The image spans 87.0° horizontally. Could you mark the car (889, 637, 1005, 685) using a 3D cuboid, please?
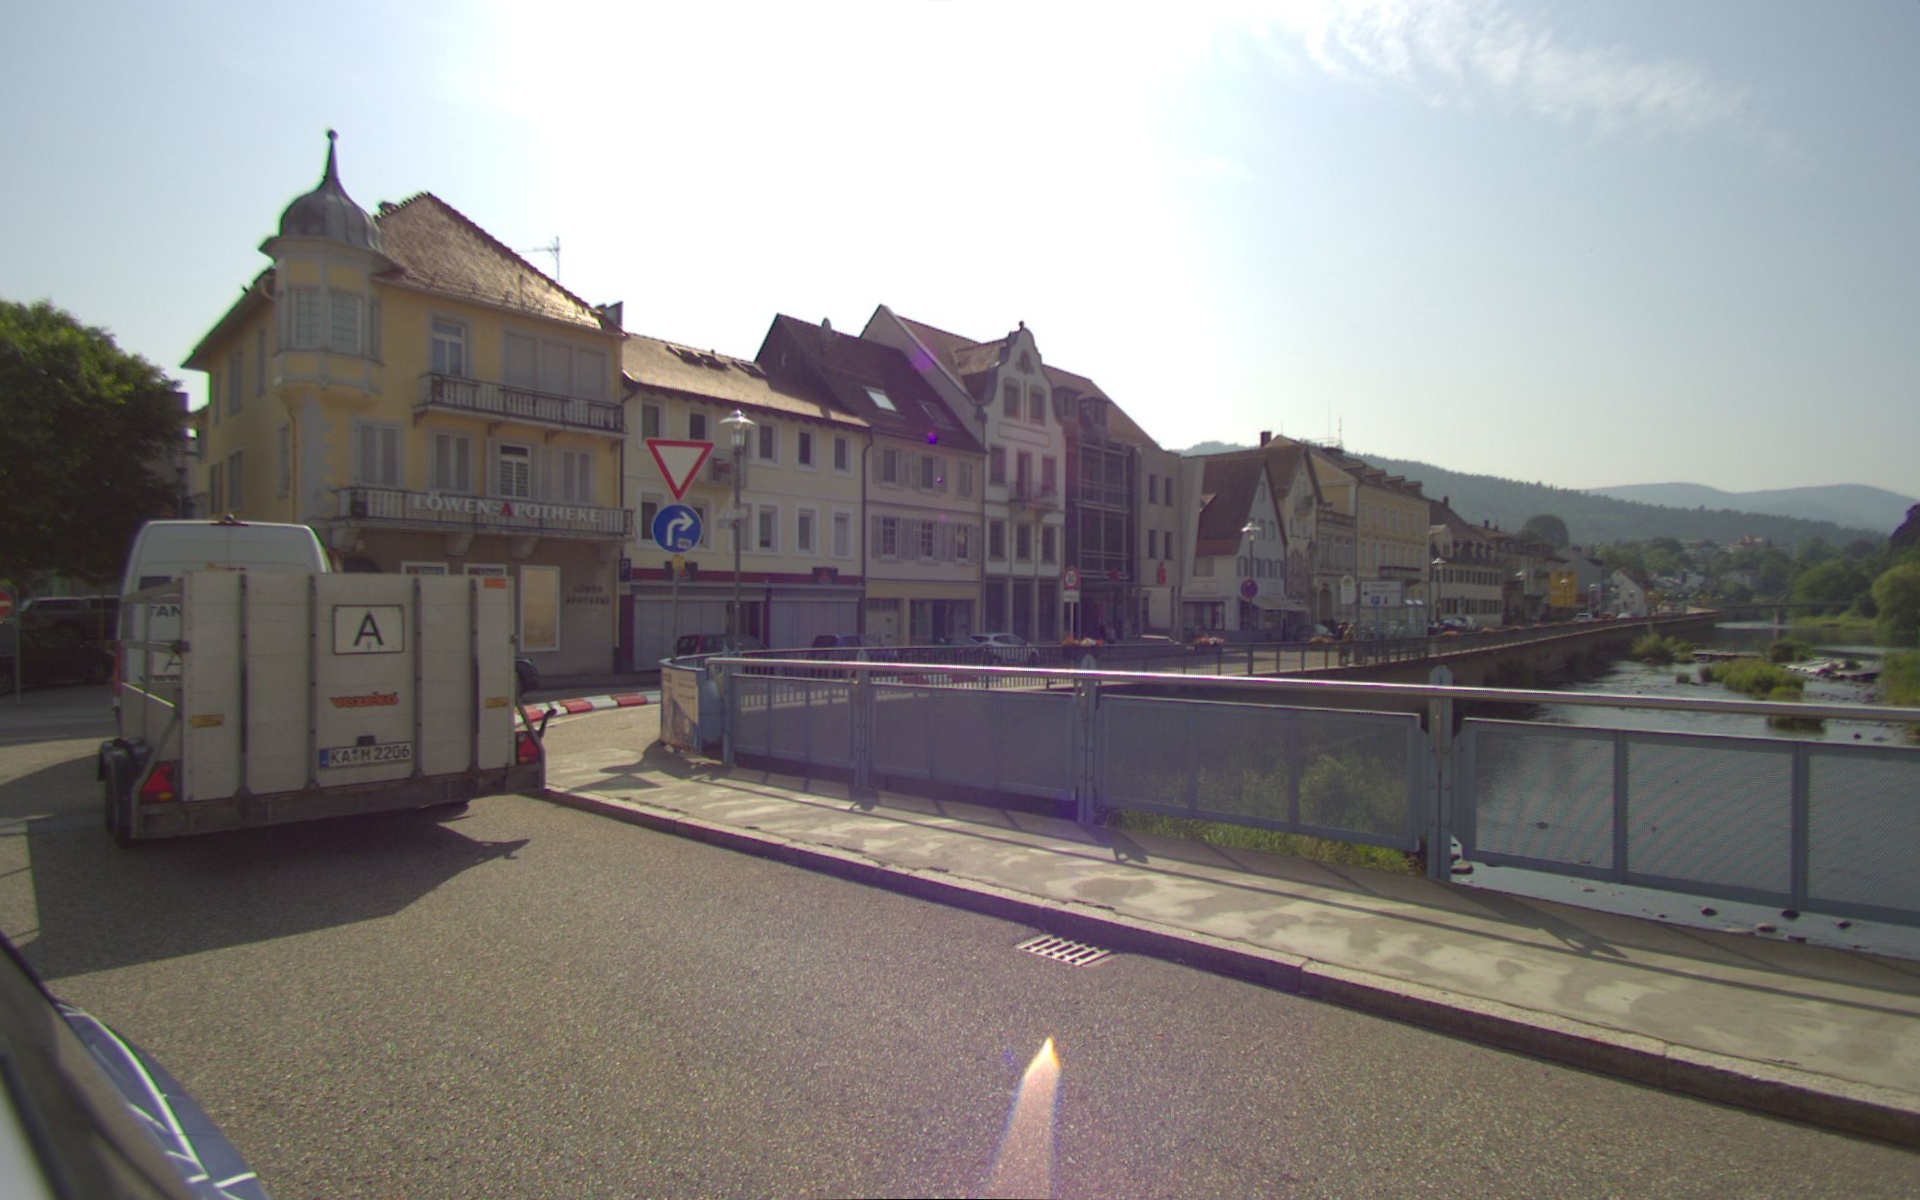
[{"bbox_3d":[-0.393,2.034,34.516,1.754,1.367,4.146,-2,-1,38],"label":"car"}]

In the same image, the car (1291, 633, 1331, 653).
[{"bbox_3d":[23.836,2.896,68.606,1.567,1.229,3.233,-2,-2,39],"label":"car"}]

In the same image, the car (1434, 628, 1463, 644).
[{"bbox_3d":[45.938,3.394,95.159,1.751,1.459,3.233,-2,-2,39],"label":"car"}]

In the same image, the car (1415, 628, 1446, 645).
[{"bbox_3d":[42.053,3.233,90.428,1.751,1.459,3.233,-2,-2,39],"label":"car"}]

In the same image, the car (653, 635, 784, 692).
[{"bbox_3d":[-7.338,1.891,30.984,1.851,1.580,3.521,-2,-2,39],"label":"car"}]

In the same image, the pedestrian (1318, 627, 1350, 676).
[{"bbox_3d":[13.478,1.823,36.447,0.869,1.719,0.766,-1,-1,42],"label":"pedestrian"}]

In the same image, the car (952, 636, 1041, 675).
[{"bbox_3d":[1.525,2.234,41.532,1.751,1.459,3.745,-2,-2,39],"label":"car"}]

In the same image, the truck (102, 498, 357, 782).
[{"bbox_3d":[-9.362,0.553,13.220,2.077,2.719,7.151,0,-3,-35],"label":"truck"}]

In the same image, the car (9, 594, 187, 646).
[{"bbox_3d":[-33.724,0.768,39.737,1.996,1.905,5.011,-1,-1,36],"label":"car"}]

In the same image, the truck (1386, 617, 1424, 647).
[{"bbox_3d":[37.916,2.700,86.169,1.751,2.487,4.600,-2,-2,39],"label":"truck"}]

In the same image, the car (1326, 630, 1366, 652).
[{"bbox_3d":[27.936,2.953,73.159,1.751,1.459,3.233,-2,-2,39],"label":"car"}]

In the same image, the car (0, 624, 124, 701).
[{"bbox_3d":[-22.334,1.440,23.882,1.897,1.554,3.957,0,1,1],"label":"car"}]

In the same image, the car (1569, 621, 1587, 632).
[{"bbox_3d":[81.057,3.453,132.728,1.517,1.459,3.233,-2,-2,39],"label":"car"}]

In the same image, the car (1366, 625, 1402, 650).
[{"bbox_3d":[34.215,2.977,81.543,1.751,1.950,3.530,-2,-2,39],"label":"car"}]

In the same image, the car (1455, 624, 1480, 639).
[{"bbox_3d":[50.524,3.158,100.698,1.517,1.459,3.233,-2,-2,39],"label":"car"}]

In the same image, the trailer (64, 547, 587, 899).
[{"bbox_3d":[-5.472,0.736,8.262,2.579,1.841,5.643,1,-2,-43],"label":"trailer"}]

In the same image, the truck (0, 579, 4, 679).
[{"bbox_3d":[-30.961,0.774,29.957,8.856,2.779,2.970,1,1,41],"label":"truck"}]

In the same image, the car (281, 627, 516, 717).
[{"bbox_3d":[-11.451,1.388,20.830,1.683,1.572,3.917,-1,-1,41],"label":"car"}]

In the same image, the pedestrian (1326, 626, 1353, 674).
[{"bbox_3d":[13.862,1.810,36.968,0.792,1.719,0.485,-1,-1,42],"label":"pedestrian"}]

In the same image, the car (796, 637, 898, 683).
[{"bbox_3d":[-3.883,2.055,35.159,1.751,1.459,3.233,-2,-2,39],"label":"car"}]
